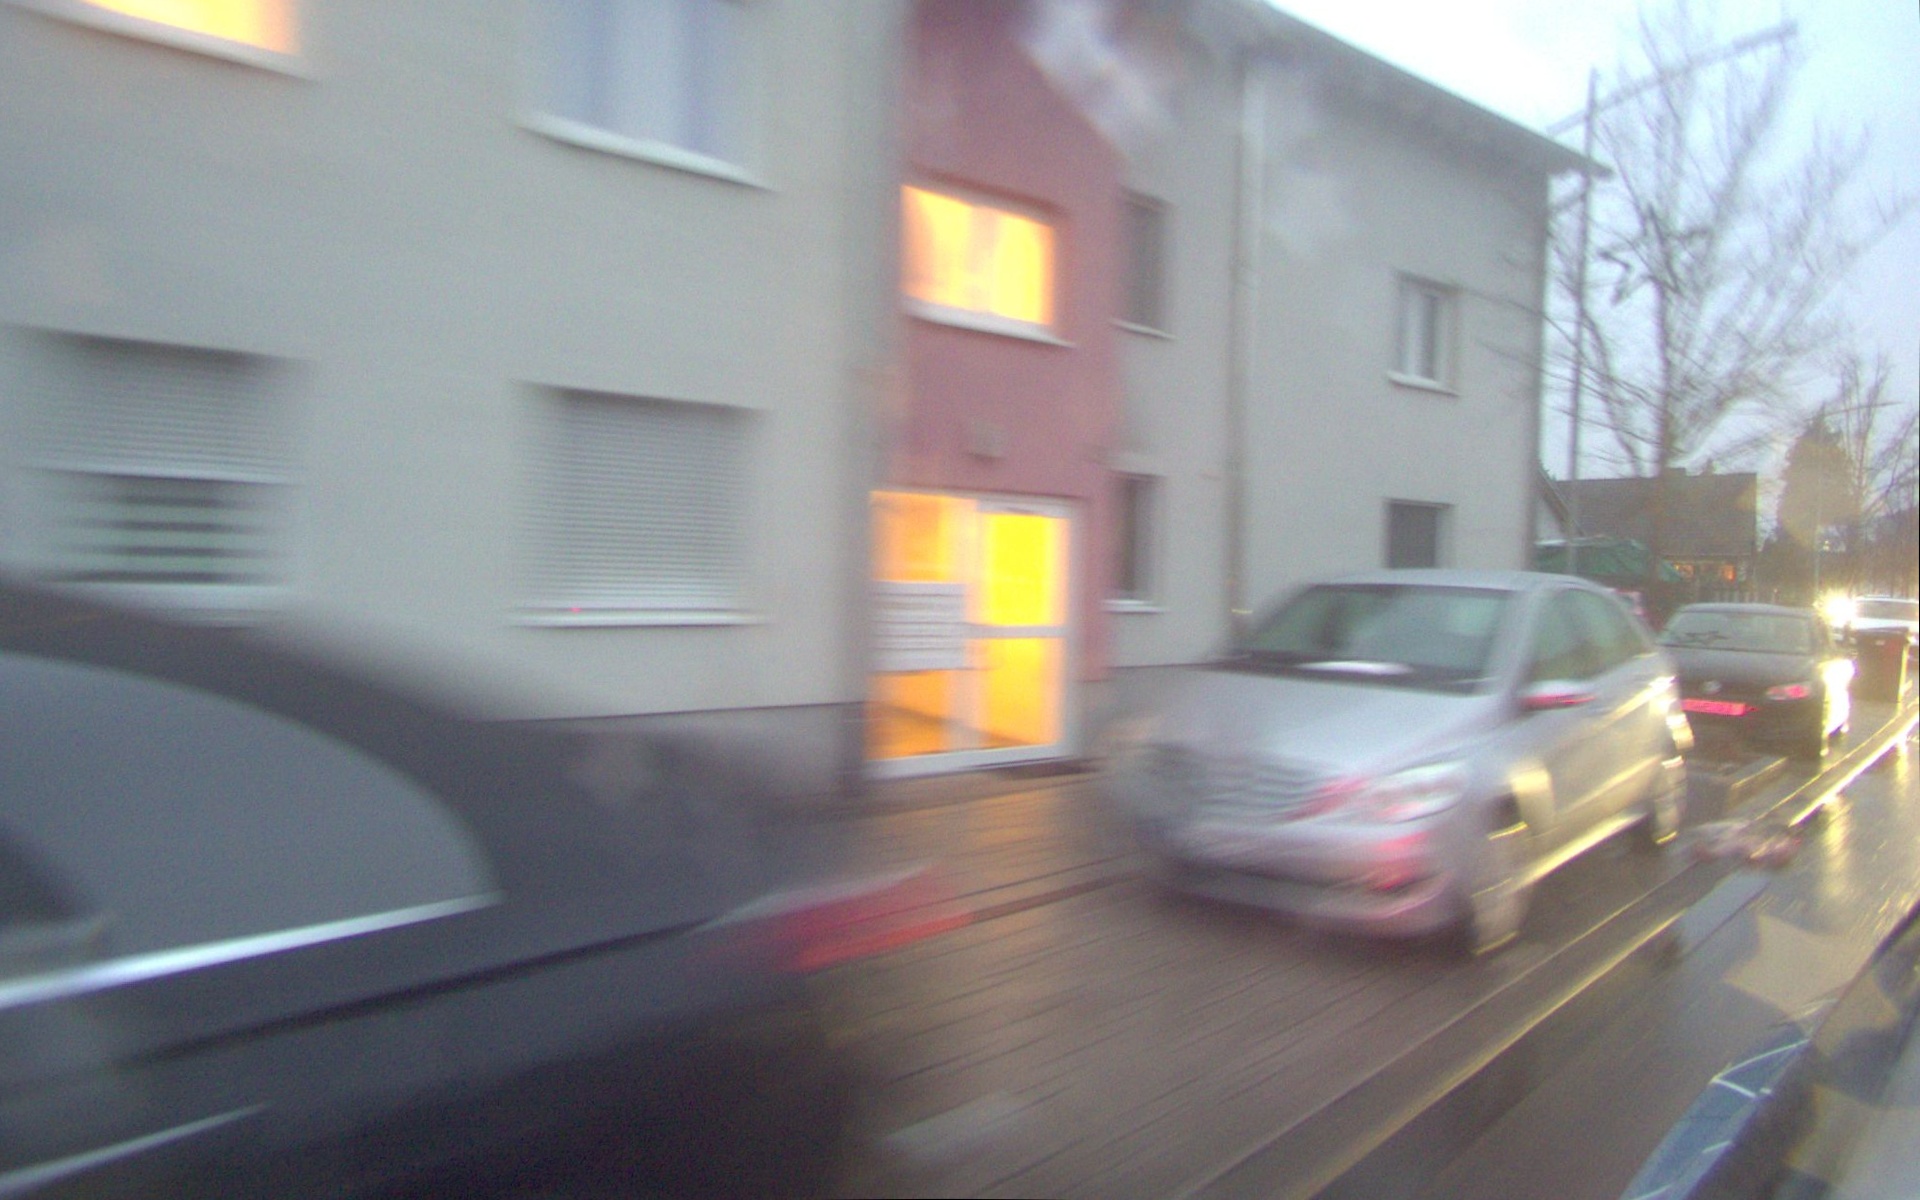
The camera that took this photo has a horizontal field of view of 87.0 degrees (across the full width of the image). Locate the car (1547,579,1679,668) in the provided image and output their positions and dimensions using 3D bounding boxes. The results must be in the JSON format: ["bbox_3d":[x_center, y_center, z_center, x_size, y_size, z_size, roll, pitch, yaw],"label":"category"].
[{"bbox_3d":[13.457,0.394,20.745,1.804,1.571,4.244,3,2,39],"label":"car"}]

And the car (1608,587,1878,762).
[{"bbox_3d":[8.535,0.646,10.887,4.122,1.469,1.704,0,2,-44],"label":"car"}]

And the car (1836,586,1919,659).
[{"bbox_3d":[22.645,0.493,24.413,4.232,1.583,1.810,0,2,-43],"label":"car"}]

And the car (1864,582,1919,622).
[{"bbox_3d":[46.182,0.089,50.093,1.909,1.812,4.501,3,2,40],"label":"car"}]

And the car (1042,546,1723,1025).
[{"bbox_3d":[2.574,0.580,5.474,4.420,1.595,1.667,0,2,-42],"label":"car"}]

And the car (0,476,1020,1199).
[{"bbox_3d":[-2.361,0.670,0.866,4.923,1.552,1.959,0,-1,-42],"label":"car"}]
